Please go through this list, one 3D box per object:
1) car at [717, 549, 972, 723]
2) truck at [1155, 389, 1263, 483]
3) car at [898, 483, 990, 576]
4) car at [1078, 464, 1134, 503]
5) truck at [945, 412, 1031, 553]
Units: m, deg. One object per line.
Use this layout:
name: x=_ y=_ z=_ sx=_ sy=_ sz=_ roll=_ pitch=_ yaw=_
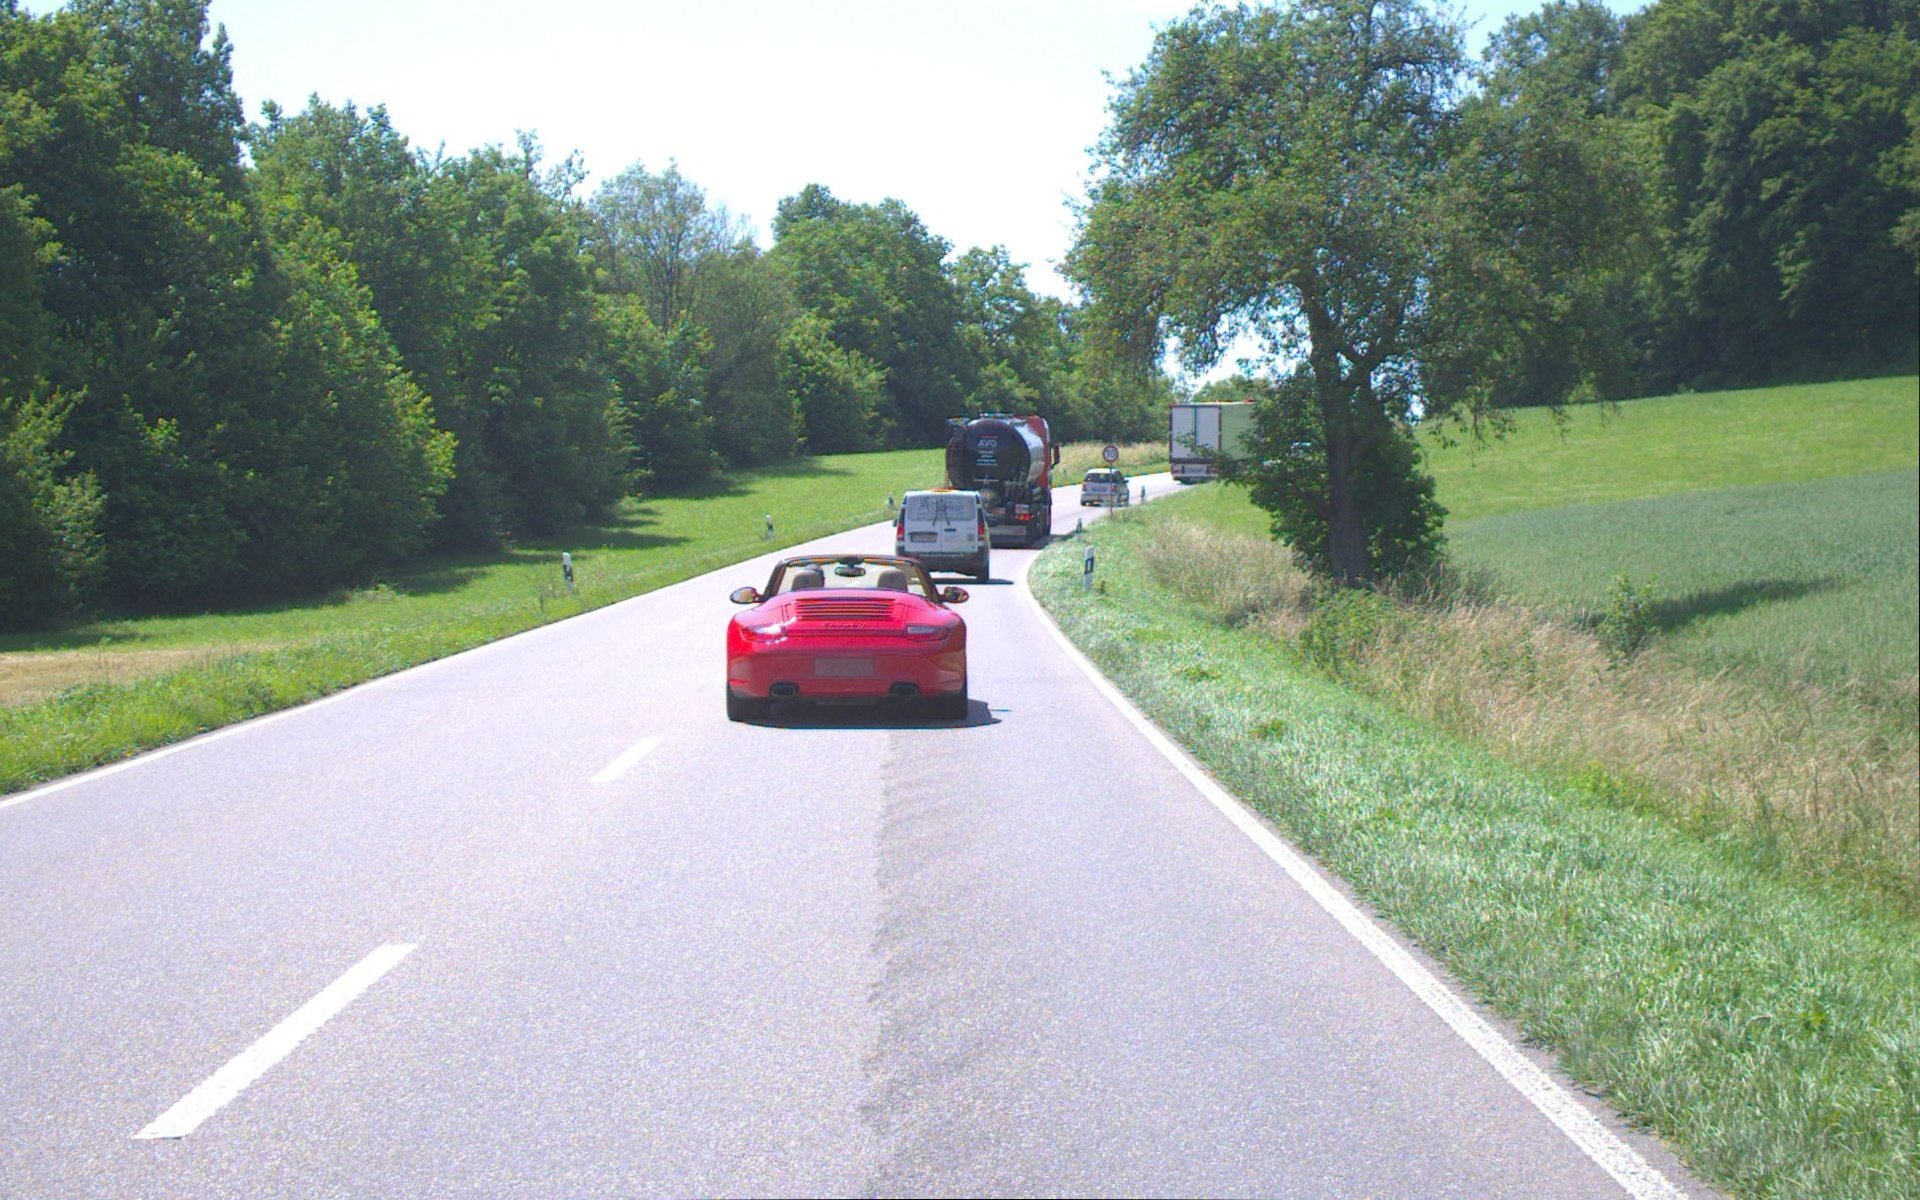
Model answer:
car: x=-0.889 y=0.237 z=27.447 sx=1.882 sy=1.250 sz=4.010 roll=0 pitch=1 yaw=-1
truck: x=12.908 y=-8.525 z=177.206 sx=3.727 sy=4.644 sz=12.026 roll=0 pitch=3 yaw=13
car: x=-0.314 y=-1.491 z=71.626 sx=1.679 sy=1.894 sz=4.009 roll=0 pitch=2 yaw=3
car: x=6.154 y=-4.911 z=144.356 sx=1.831 sy=1.508 sz=4.190 roll=0 pitch=3 yaw=9
truck: x=0.858 y=-3.586 z=107.022 sx=2.404 sy=4.036 sz=12.551 roll=2 pitch=1 yaw=0
